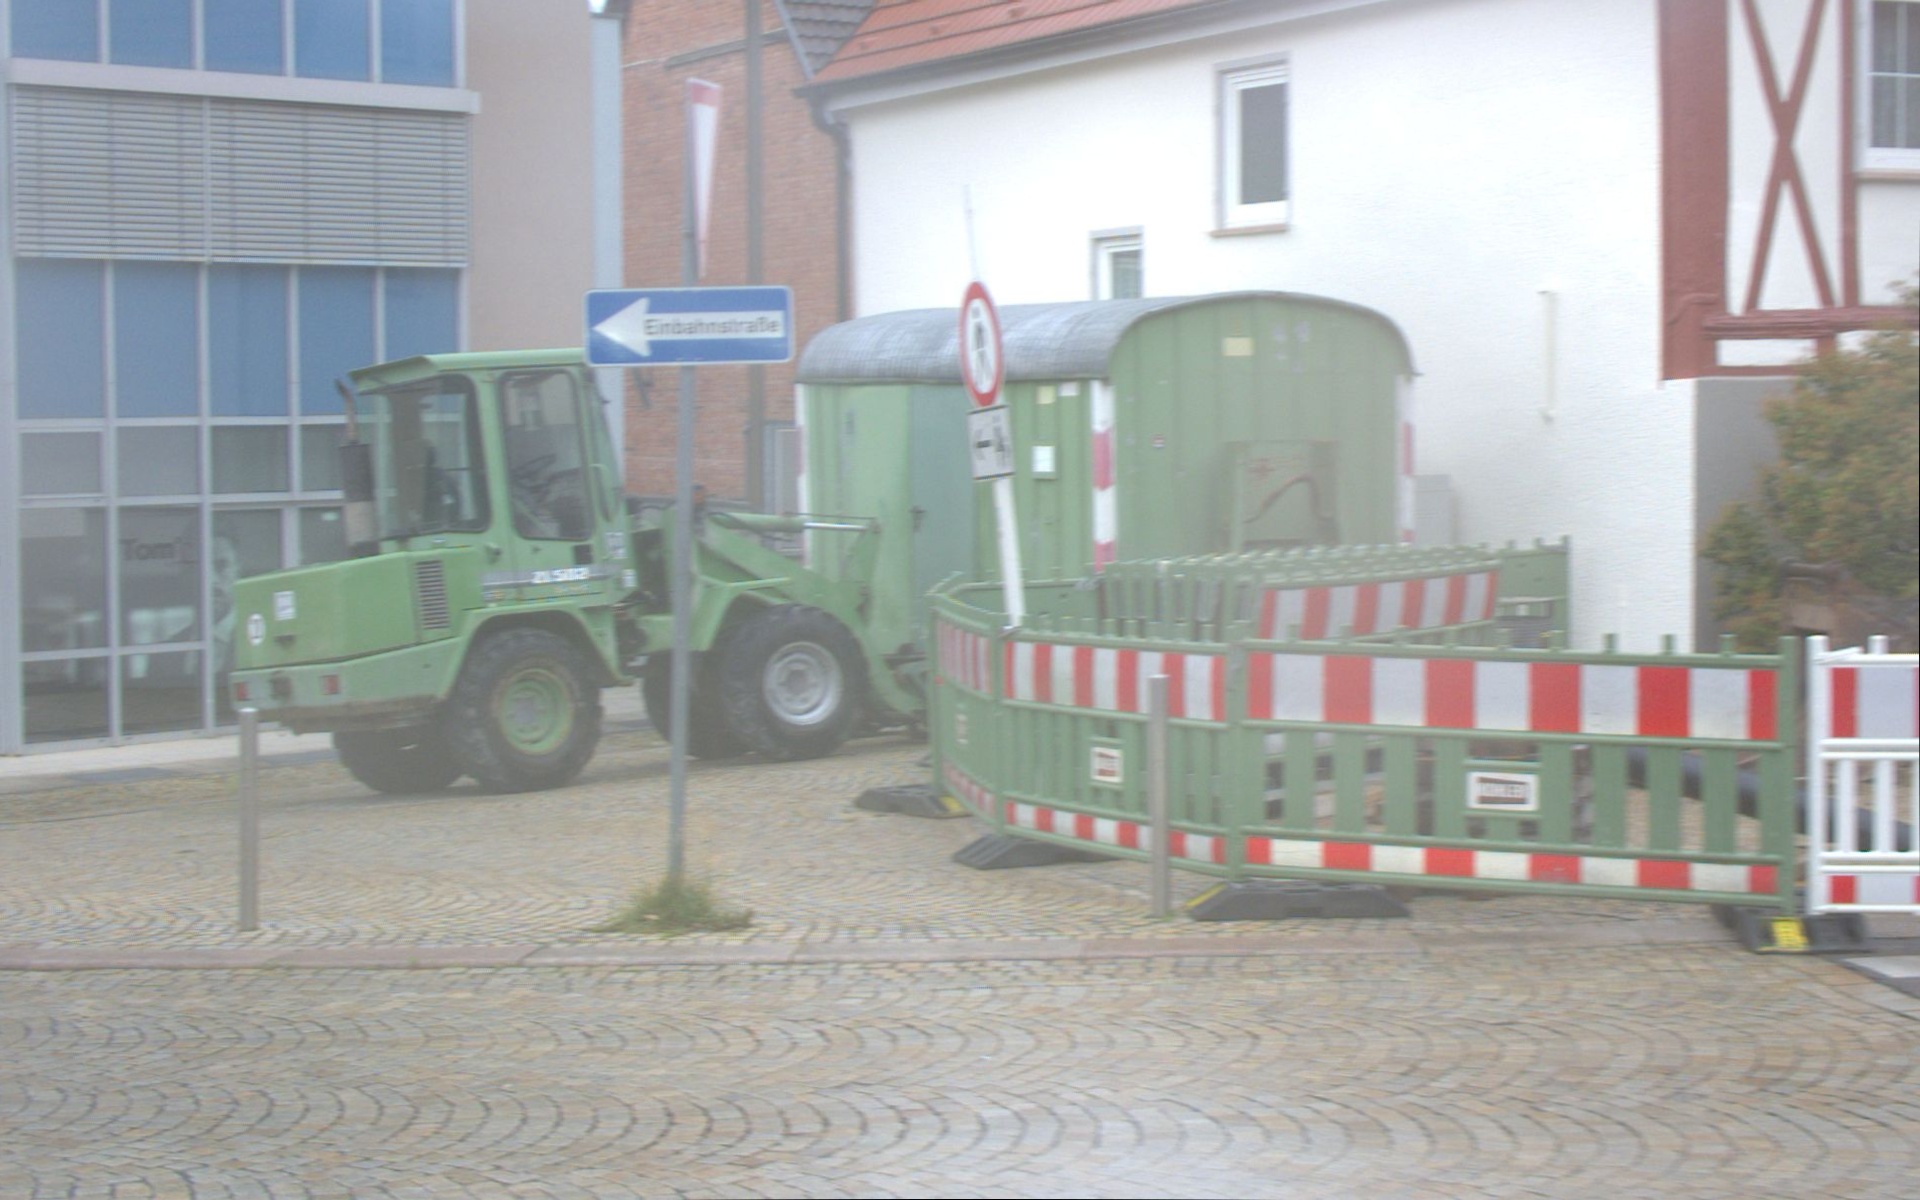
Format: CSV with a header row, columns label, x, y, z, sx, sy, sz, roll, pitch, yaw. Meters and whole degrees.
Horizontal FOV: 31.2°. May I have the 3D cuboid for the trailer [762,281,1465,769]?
label,x,y,z,sx,sy,sz,roll,pitch,yaw
trailer,0.854,-0.547,22.520,2.484,2.826,4.633,0,3,-29

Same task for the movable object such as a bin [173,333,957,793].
label,x,y,z,sx,sy,sz,roll,pitch,yaw
movable object such as a bin,-2.367,-0.274,20.974,4.277,2.545,1.912,-2,1,-32
